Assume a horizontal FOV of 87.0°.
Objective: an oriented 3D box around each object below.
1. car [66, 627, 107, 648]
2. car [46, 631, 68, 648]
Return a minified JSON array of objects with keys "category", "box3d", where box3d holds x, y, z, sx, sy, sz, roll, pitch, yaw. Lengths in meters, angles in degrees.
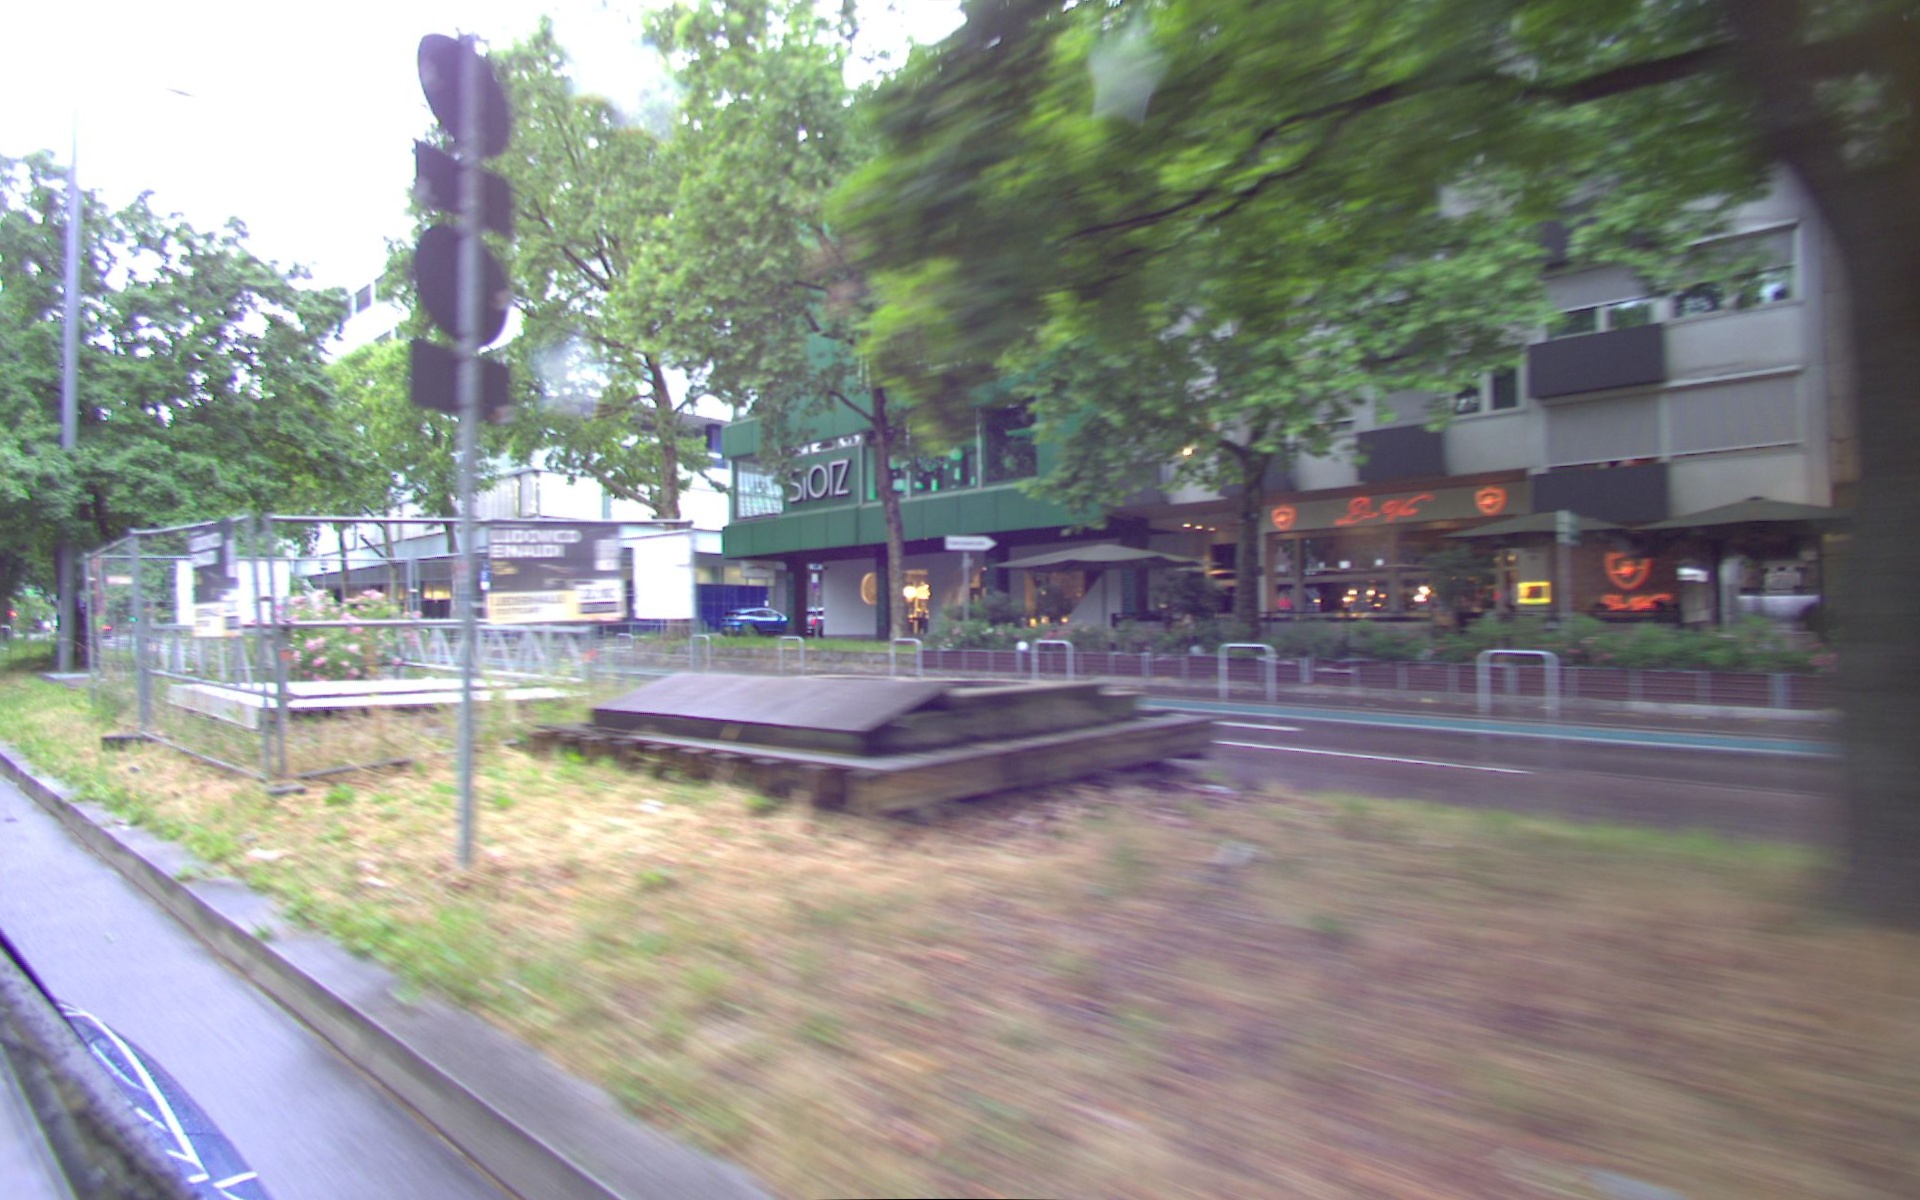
[{"category":"car","box3d":[-65.842,2.843,76.235,1.970,1.503,4.759,3,-3,-45]},{"category":"car","box3d":[-79.071,3.427,88.600,3.561,1.473,1.148,-2,-2,44]}]
